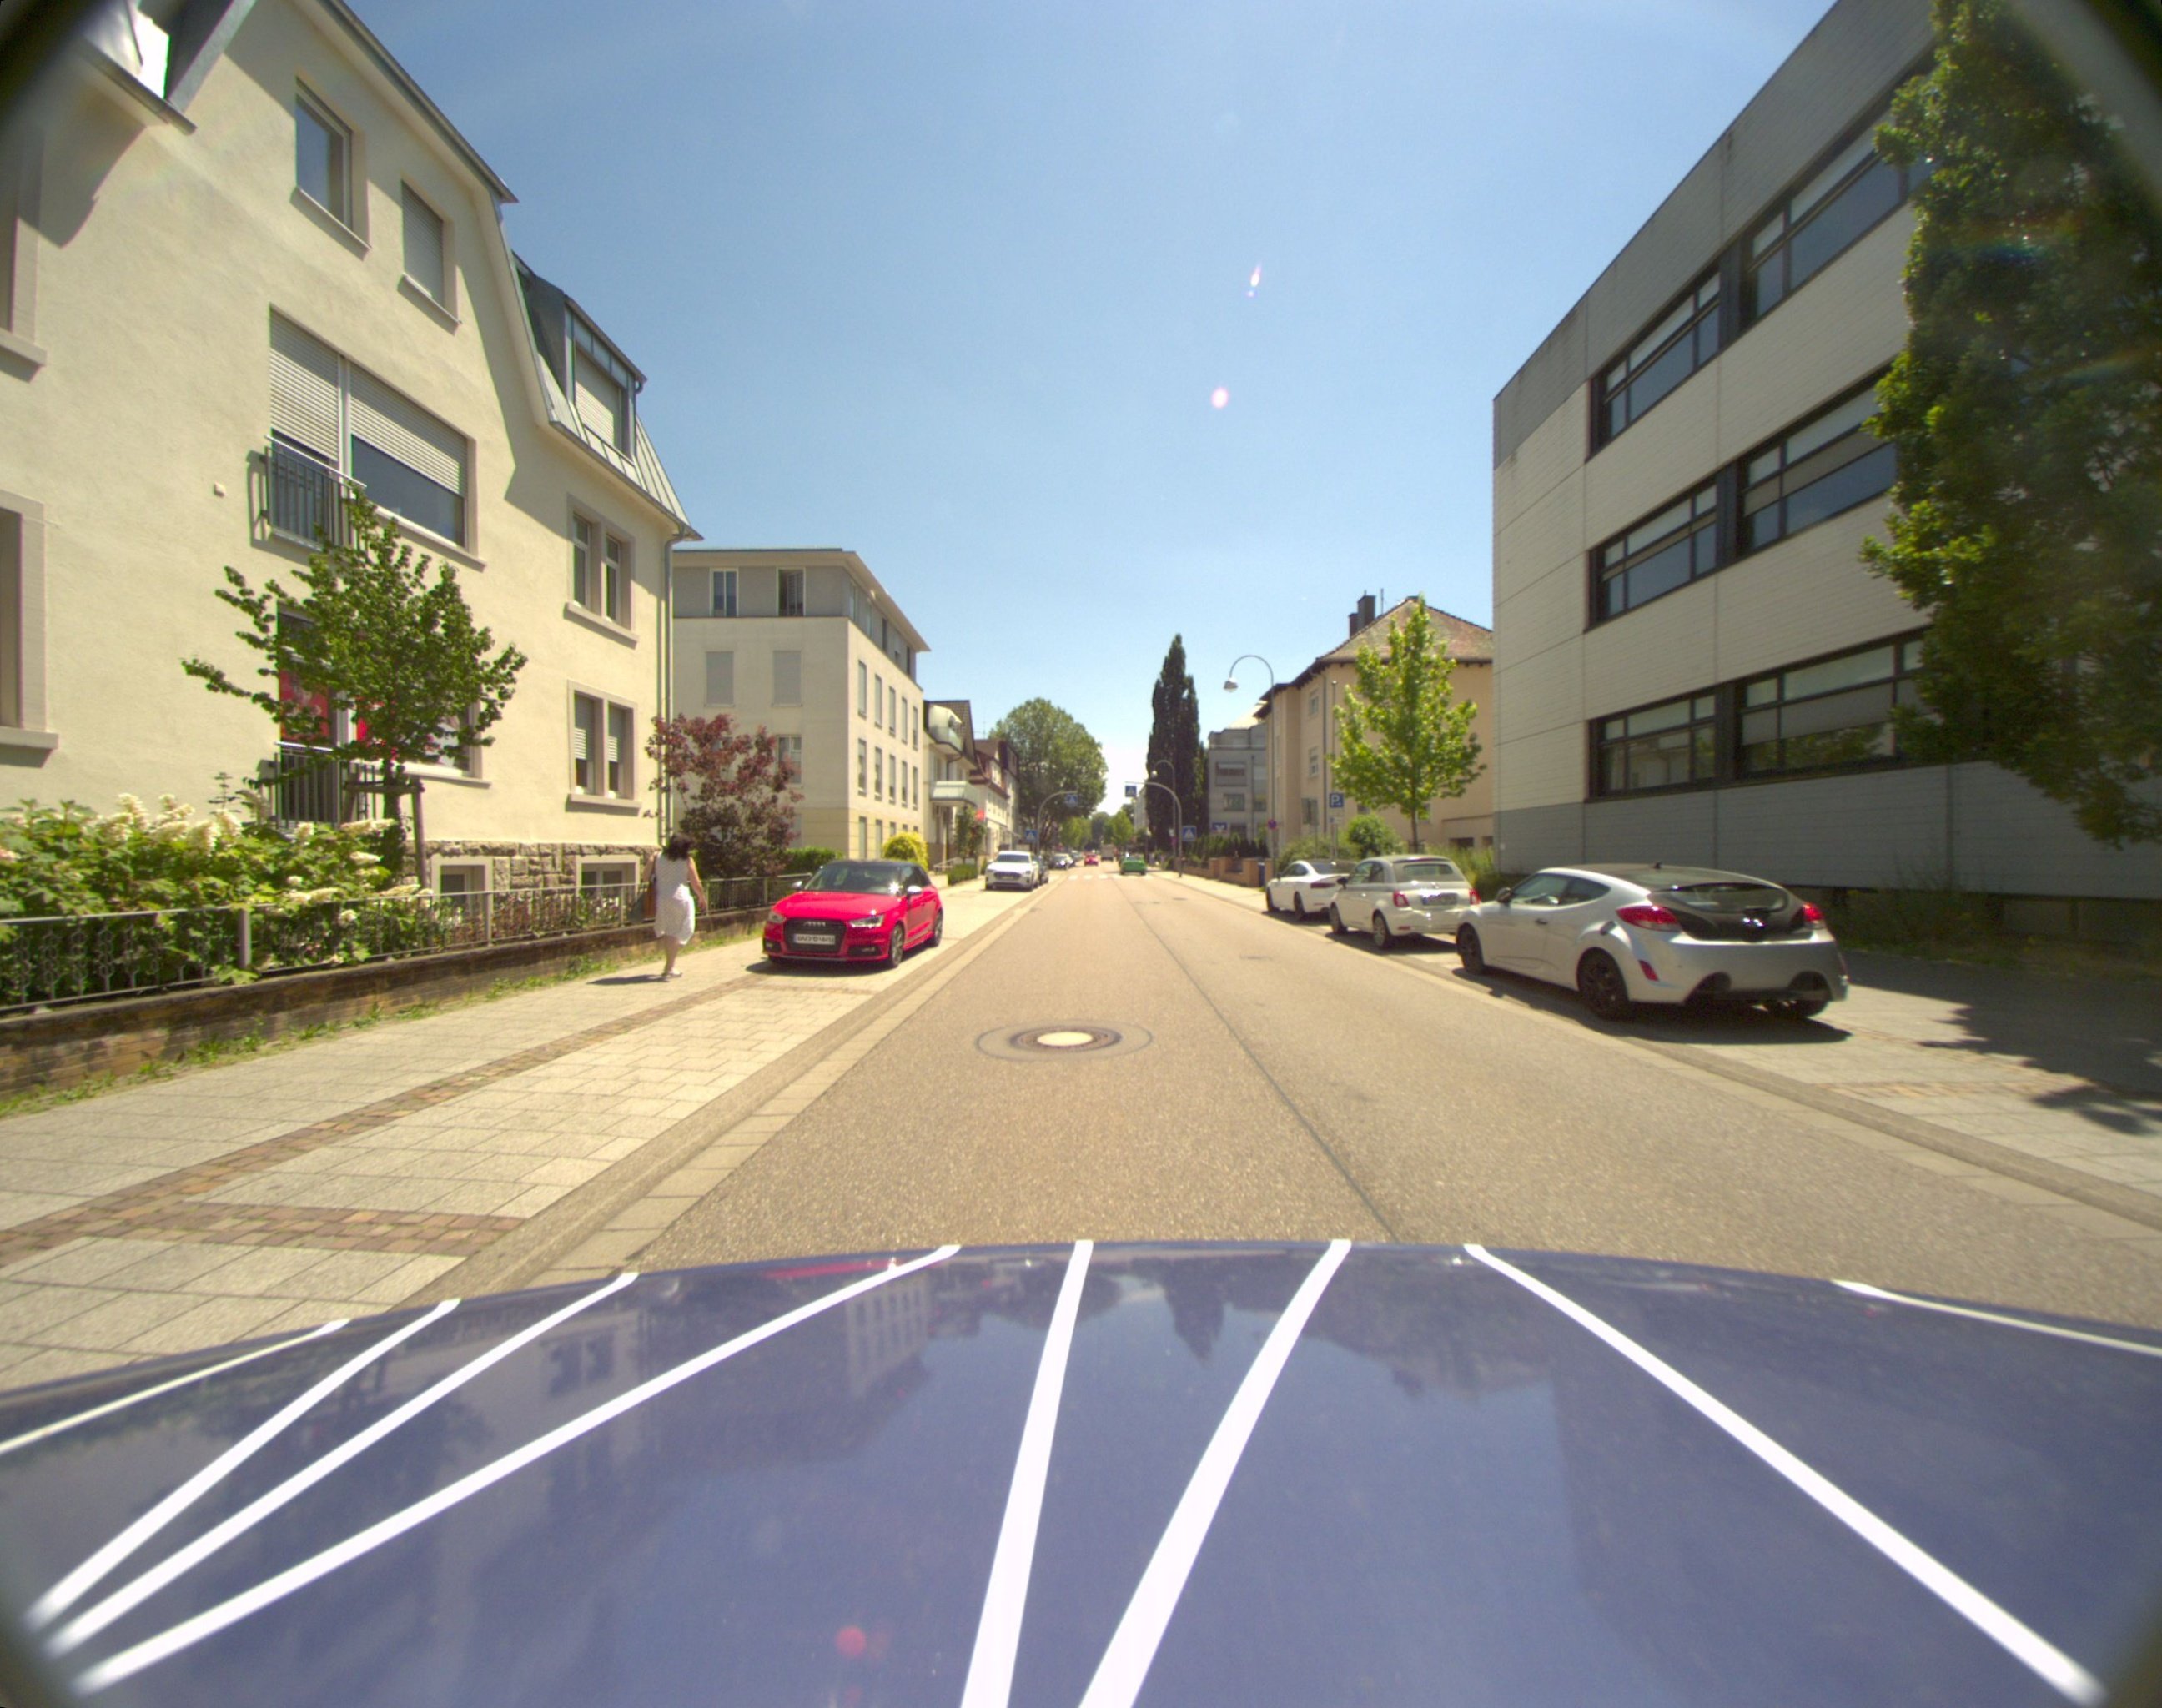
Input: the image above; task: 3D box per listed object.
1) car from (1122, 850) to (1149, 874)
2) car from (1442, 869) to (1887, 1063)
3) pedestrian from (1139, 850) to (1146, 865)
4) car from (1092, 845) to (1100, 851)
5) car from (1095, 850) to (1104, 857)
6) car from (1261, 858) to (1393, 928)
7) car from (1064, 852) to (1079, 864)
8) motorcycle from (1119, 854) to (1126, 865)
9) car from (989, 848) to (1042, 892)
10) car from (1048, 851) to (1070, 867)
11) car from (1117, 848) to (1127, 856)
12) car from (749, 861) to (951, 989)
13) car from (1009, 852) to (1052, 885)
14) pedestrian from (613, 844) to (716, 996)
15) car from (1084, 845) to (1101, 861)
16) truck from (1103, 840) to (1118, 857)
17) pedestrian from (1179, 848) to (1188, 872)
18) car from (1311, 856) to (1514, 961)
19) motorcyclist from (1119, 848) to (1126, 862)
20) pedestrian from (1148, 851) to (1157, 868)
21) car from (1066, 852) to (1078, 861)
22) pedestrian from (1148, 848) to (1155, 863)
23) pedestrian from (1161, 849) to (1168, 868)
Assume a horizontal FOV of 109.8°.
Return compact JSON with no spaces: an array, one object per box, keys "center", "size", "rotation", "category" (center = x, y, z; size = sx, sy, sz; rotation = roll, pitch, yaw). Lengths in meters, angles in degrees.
[{"center":[3.938,0.543,55.840],"size":[1.826,1.580,4.099],"rotation":[0,2,2],"category":"car"},{"center":[5.577,0.933,8.017],"size":[1.752,1.401,3.933],"rotation":[-2,0,2],"category":"car"},{"center":[7.109,0.436,87.567],"size":[0.622,1.667,0.903],"rotation":[-2,1,0],"category":"pedestrian"},{"center":[3.875,-1.500,197.463],"size":[1.732,1.500,4.292],"rotation":[-1,2,-1],"category":"car"},{"center":[3.991,-0.106,164.198],"size":[1.834,1.502,4.262],"rotation":[-2,0,1],"category":"car"},{"center":[5.816,0.854,18.587],"size":[1.827,1.403,4.577],"rotation":[-1,0,1],"category":"car"},{"center":[-0.994,0.421,84.075],"size":[1.561,1.333,4.173],"rotation":[1,1,1],"category":"car"},{"center":[4.198,0.548,76.332],"size":[0.700,1.101,1.790],"rotation":[0,0,3],"category":"motorcycle"},{"center":[-2.726,0.629,32.613],"size":[1.709,1.656,4.580],"rotation":[3,1,1],"category":"car"},{"center":[-2.087,0.485,72.445],"size":[1.831,1.418,4.700],"rotation":[1,1,1],"category":"car"},{"center":[8.022,-0.391,149.315],"size":[1.731,1.661,4.294],"rotation":[-1,1,1],"category":"car"},{"center":[-3.158,0.885,11.200],"size":[1.607,1.432,3.853],"rotation":[3,0,2],"category":"car"},{"center":[-2.499,0.680,38.681],"size":[1.709,1.547,4.748],"rotation":[2,0,1],"category":"car"},{"center":[-4.783,0.734,8.773],"size":[0.742,1.660,0.706],"rotation":[2,1,0],"category":"pedestrian"},{"center":[1.372,-0.089,93.953],"size":[2.000,1.880,4.294],"rotation":[-2,1,1],"category":"car"},{"center":[5.267,-0.943,134.523],"size":[2.425,2.966,6.259],"rotation":[0,0,3],"category":"truck"},{"center":[7.363,0.439,54.789],"size":[0.538,1.675,0.708],"rotation":[-1,1,1],"category":"pedestrian"},{"center":[5.664,0.835,13.647],"size":[1.827,1.503,4.289],"rotation":[-2,0,1],"category":"car"},{"center":[4.202,0.136,76.434],"size":[0.700,1.425,0.707],"rotation":[0,1,3],"category":"motorcyclist"},{"center":[7.504,0.563,79.367],"size":[0.847,1.635,0.751],"rotation":[-3,1,3],"category":"pedestrian"},{"center":[-1.477,0.447,127.953],"size":[1.818,1.379,4.115],"rotation":[-1,0,1],"category":"car"},{"center":[8.105,0.157,87.446],"size":[0.750,1.760,0.951],"rotation":[-1,1,0],"category":"pedestrian"},{"center":[7.279,0.386,65.974],"size":[0.538,1.675,0.708],"rotation":[-1,1,1],"category":"pedestrian"}]
